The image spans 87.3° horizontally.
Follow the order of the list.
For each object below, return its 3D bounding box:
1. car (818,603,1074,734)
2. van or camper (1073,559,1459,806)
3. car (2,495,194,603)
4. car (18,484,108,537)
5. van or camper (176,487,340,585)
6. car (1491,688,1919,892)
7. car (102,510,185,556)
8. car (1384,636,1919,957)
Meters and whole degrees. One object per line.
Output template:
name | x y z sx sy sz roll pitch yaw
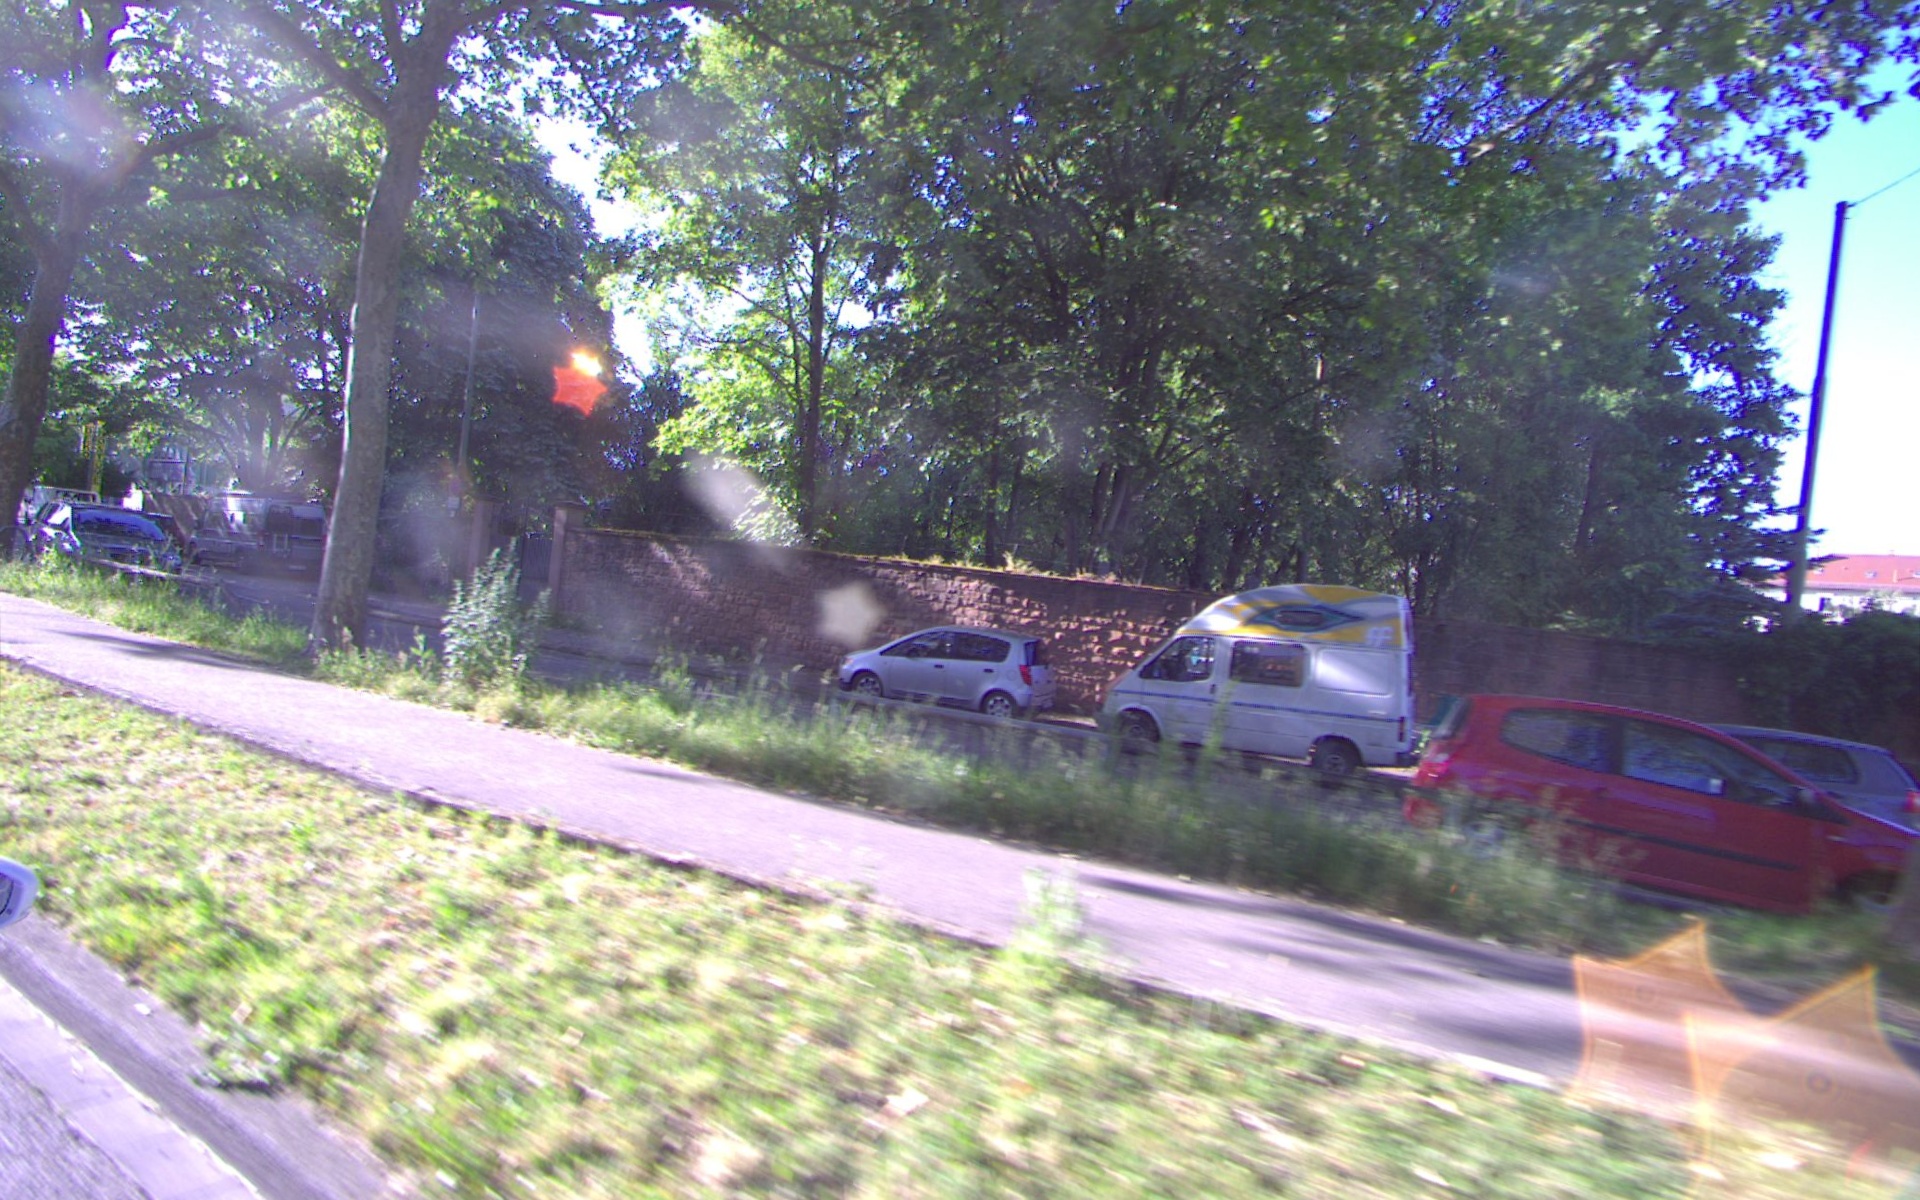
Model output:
car | -0.227 1.092 17.484 3.926 1.640 1.843 7 3 21
van or camper | 4.414 1.029 14.736 4.879 2.767 1.995 6 2 29
car | -17.303 -1.052 20.124 4.556 1.653 1.795 6 -3 36
car | -42.771 -4.276 47.931 4.866 2.037 2.088 6 -1 36
van or camper | -24.039 -2.232 34.346 6.463 2.719 2.555 7 2 36
car | 8.898 2.161 12.355 3.928 1.593 1.999 6 0 24
car | -32.366 -2.678 39.862 3.701 1.491 1.689 6 1 37
car | 5.482 1.393 7.662 3.926 1.658 2.002 7 -2 22
